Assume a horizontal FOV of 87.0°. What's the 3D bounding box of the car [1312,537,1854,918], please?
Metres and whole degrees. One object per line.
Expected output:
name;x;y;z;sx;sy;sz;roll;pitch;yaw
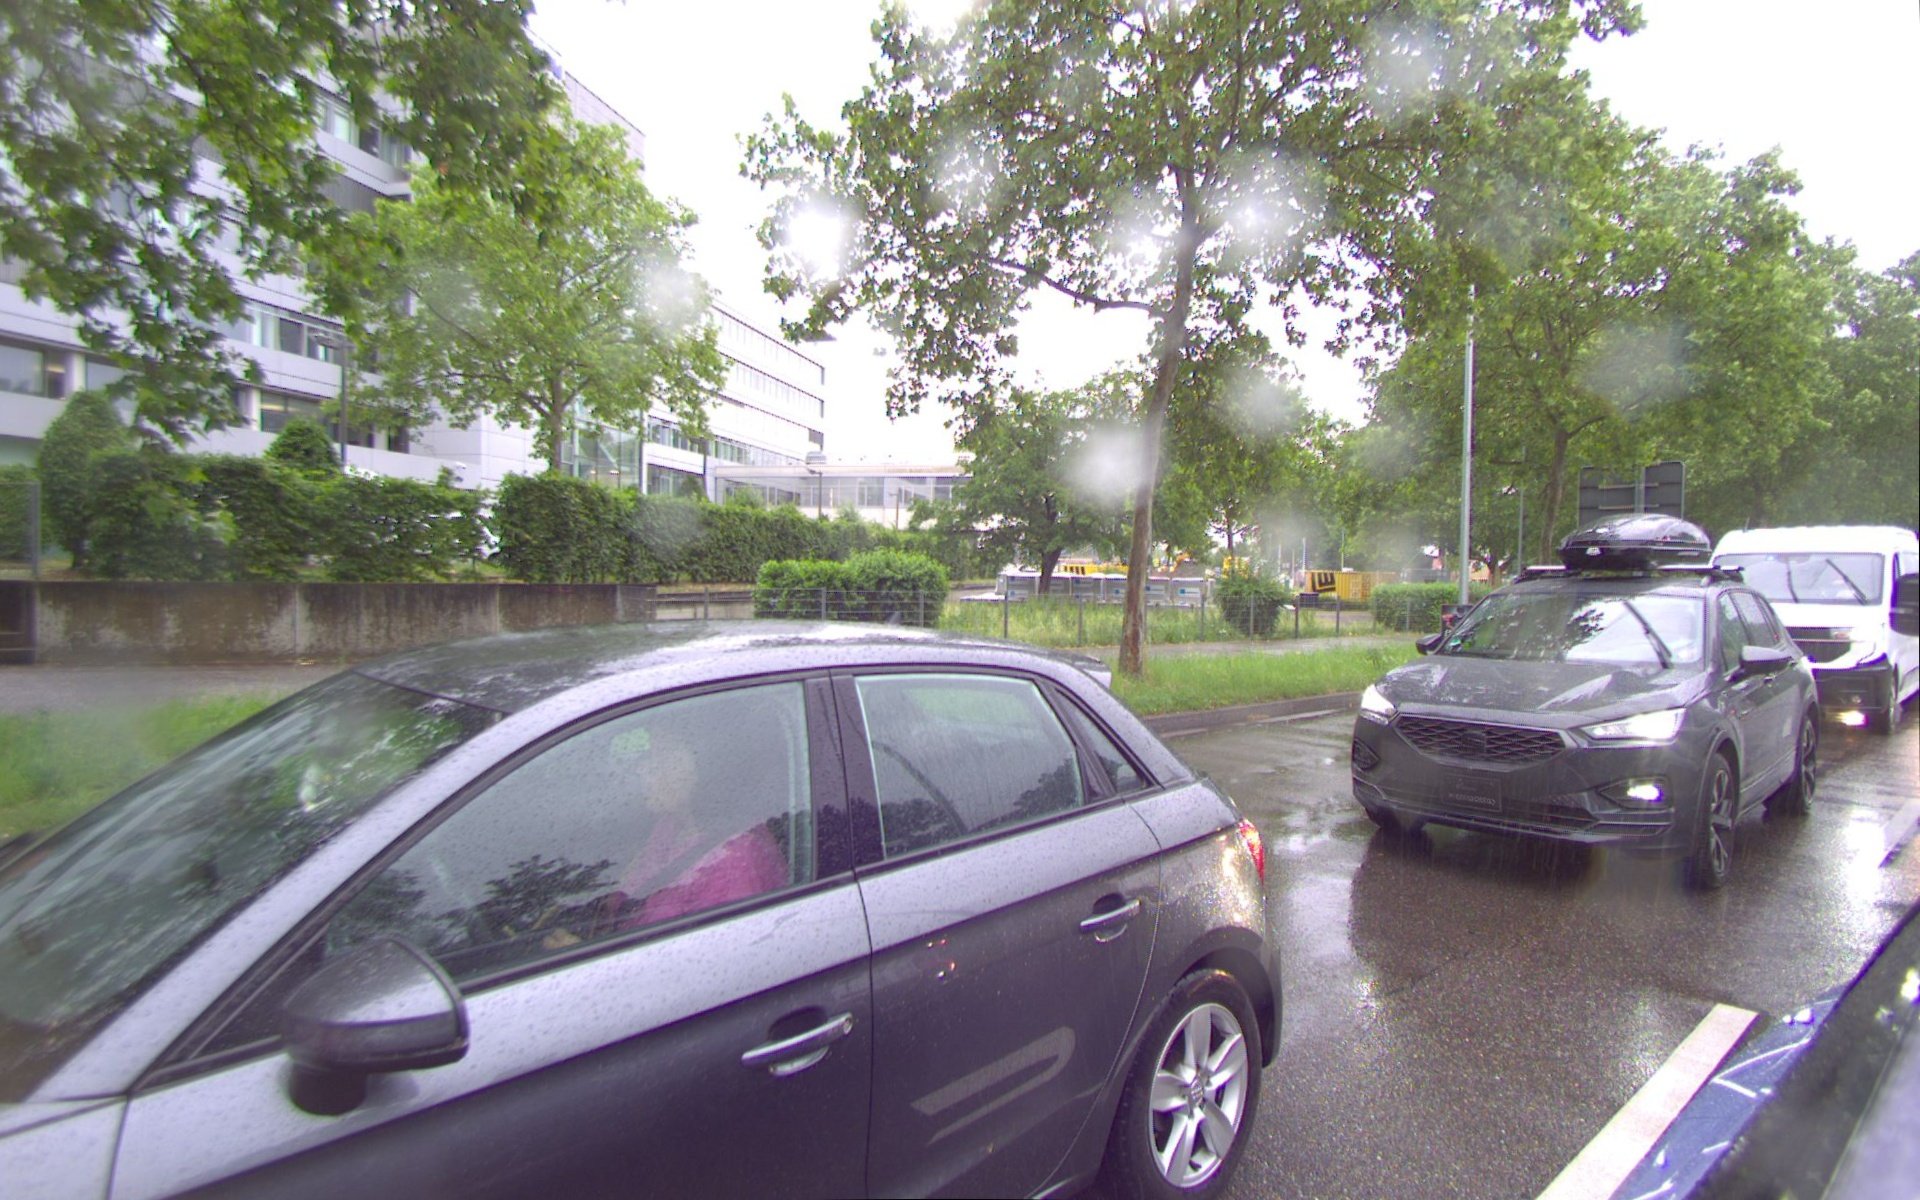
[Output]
car;4.334;0.549;6.726;4.347;1.719;1.892;0;1;-42

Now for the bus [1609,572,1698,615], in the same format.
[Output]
bus;43.734;-0.413;63.921;1.681;2.600;4.366;0;0;-41

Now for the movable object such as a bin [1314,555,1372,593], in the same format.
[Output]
movable object such as a bin;36.235;-2.457;95.803;4.857;3.478;1.913;0;0;10

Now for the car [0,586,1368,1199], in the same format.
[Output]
car;-0.822;0.705;2.208;3.715;1.446;1.679;0;1;-41

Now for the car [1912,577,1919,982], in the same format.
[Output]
car;6.331;0.181;4.960;5.599;2.544;2.024;0;1;-43

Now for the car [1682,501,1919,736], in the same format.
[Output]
car;11.206;0.170;13.155;5.227;2.476;1.892;0;1;-43
